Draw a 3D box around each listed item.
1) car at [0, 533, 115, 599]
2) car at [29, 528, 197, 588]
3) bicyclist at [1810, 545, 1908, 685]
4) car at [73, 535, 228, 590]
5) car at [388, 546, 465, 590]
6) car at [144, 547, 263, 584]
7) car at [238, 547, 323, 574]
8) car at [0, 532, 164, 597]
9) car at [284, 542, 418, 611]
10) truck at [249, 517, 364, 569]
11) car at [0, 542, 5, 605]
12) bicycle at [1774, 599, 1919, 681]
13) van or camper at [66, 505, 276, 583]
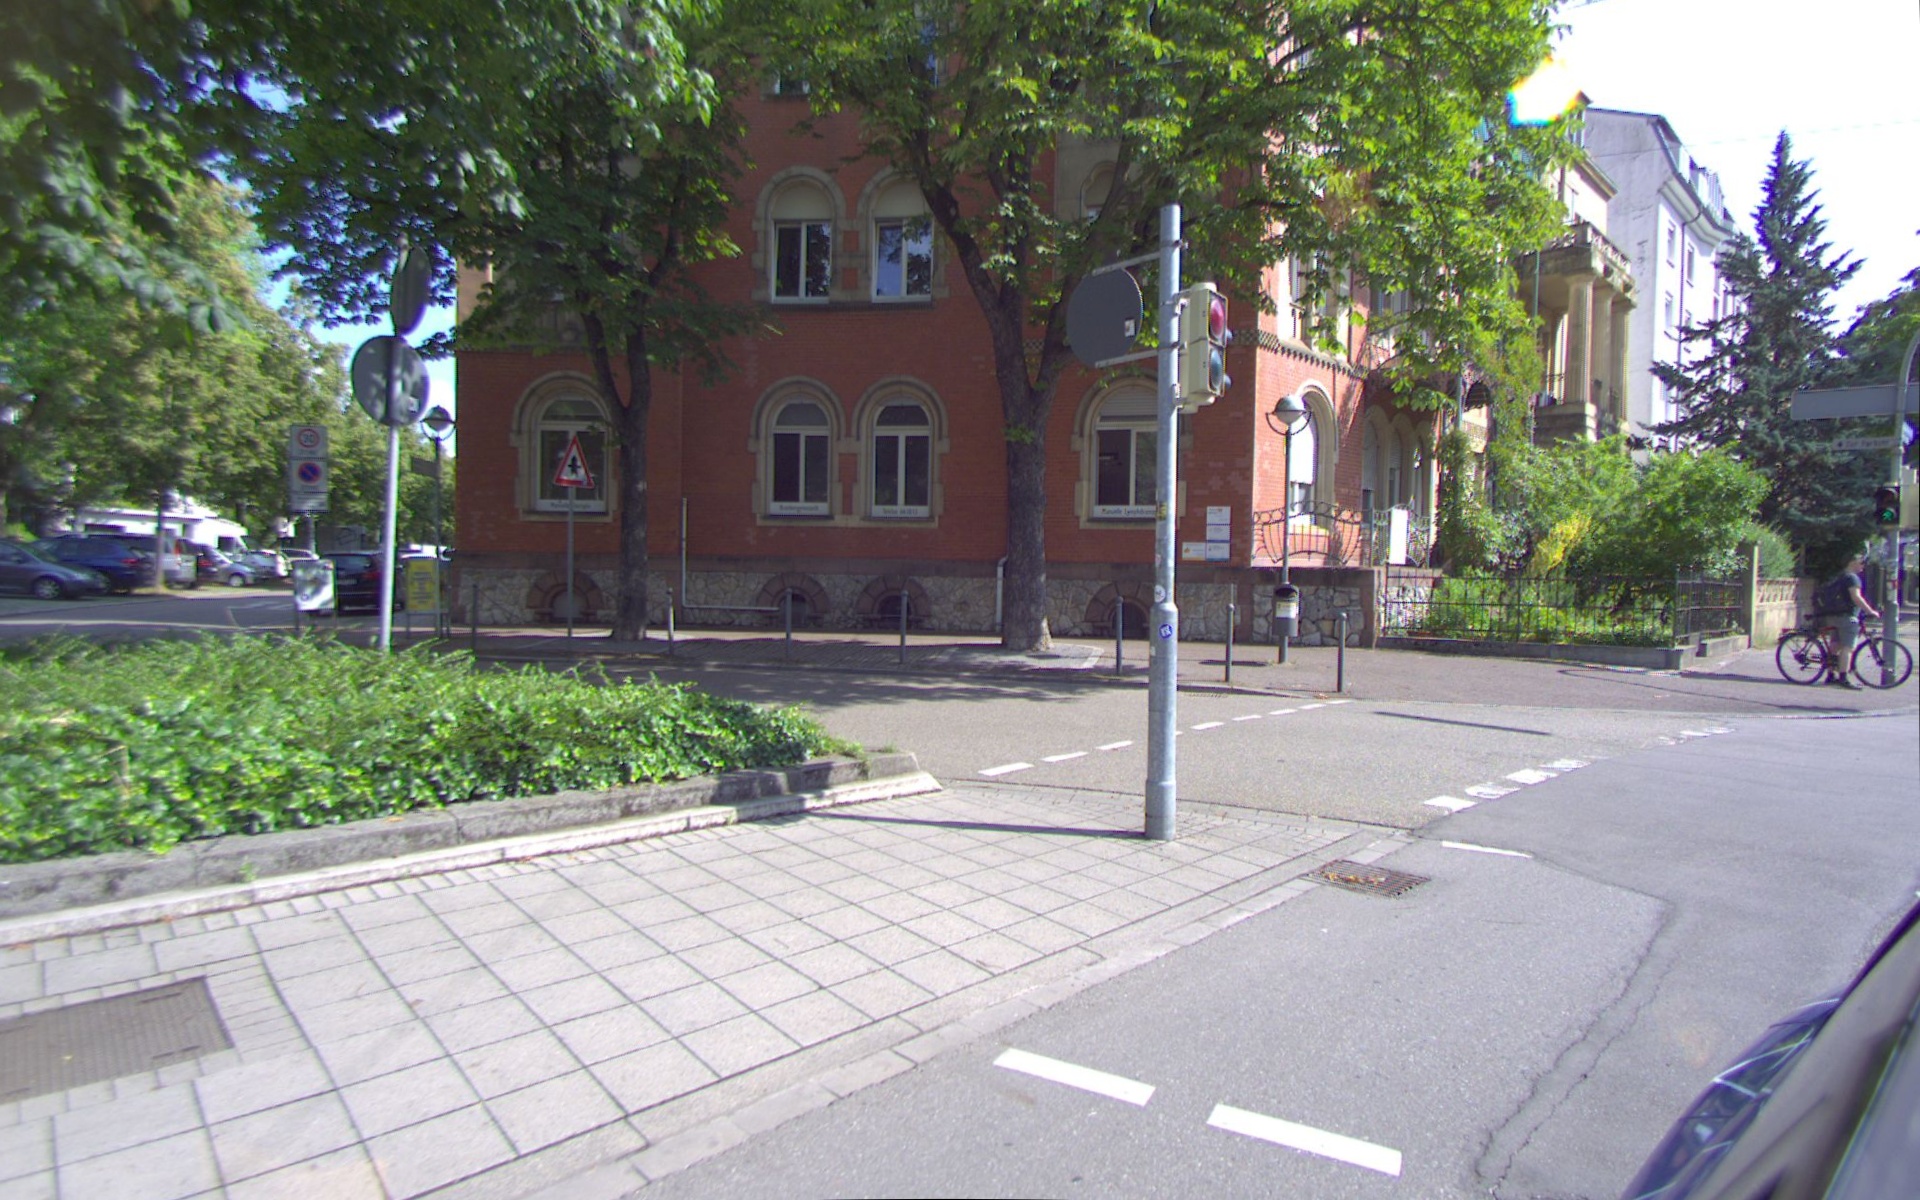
[{"bbox_3d":[-25.405,-0.919,26.991,4.041,1.704,1.856,0,2,-25],"label":"car"},{"bbox_3d":[-28.127,-1.384,33.773,3.917,1.882,1.852,0,2,-24],"label":"car"},{"bbox_3d":[12.310,0.177,13.887,0.727,1.842,0.814,2,2,24],"label":"bicyclist"},{"bbox_3d":[-29.169,-1.346,36.623,3.916,1.905,2.005,0,2,-19],"label":"car"},{"bbox_3d":[-19.462,-1.181,37.073,1.831,1.504,4.010,0,2,-18],"label":"car"},{"bbox_3d":[-30.642,-1.396,41.099,3.588,1.414,1.537,0,2,-21],"label":"car"},{"bbox_3d":[-36.739,-2.125,54.772,3.527,1.415,1.539,-1,1,-20],"label":"car"},{"bbox_3d":[-26.105,-1.040,29.701,3.916,1.816,1.983,0,2,-23],"label":"car"},{"bbox_3d":[-14.402,-0.584,24.180,1.896,1.504,4.010,0,2,-18],"label":"car"},{"bbox_3d":[-38.942,-3.359,60.468,5.437,2.969,2.005,0,2,-21],"label":"truck"},{"bbox_3d":[-23.695,-0.594,21.973,3.917,1.460,1.806,0,2,-25],"label":"car"},{"bbox_3d":[12.251,0.545,13.854,1.811,1.048,0.390,2,2,2],"label":"bicycle"},{"bbox_3d":[-33.167,-2.301,42.845,6.691,3.075,2.126,0,2,-23],"label":"van or camper"}]
